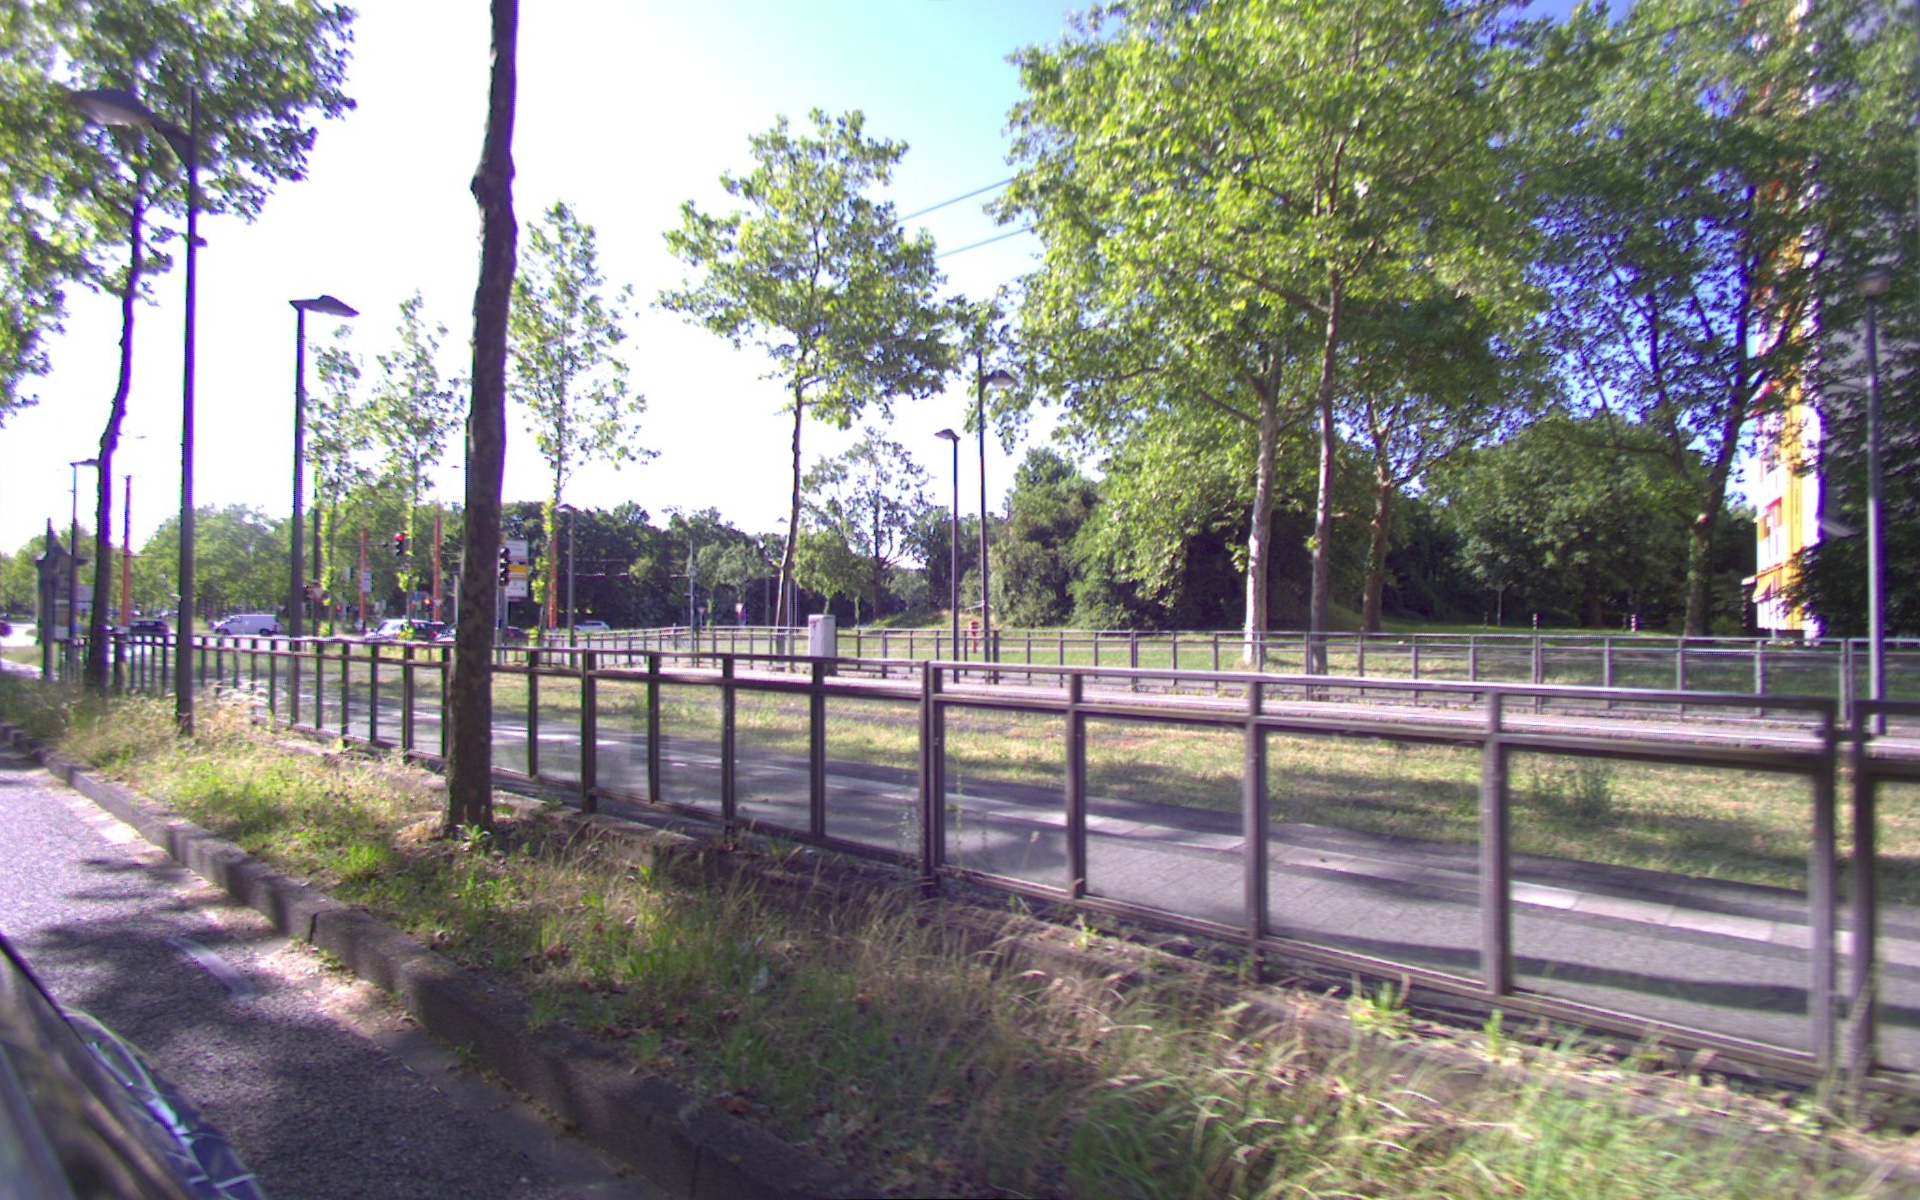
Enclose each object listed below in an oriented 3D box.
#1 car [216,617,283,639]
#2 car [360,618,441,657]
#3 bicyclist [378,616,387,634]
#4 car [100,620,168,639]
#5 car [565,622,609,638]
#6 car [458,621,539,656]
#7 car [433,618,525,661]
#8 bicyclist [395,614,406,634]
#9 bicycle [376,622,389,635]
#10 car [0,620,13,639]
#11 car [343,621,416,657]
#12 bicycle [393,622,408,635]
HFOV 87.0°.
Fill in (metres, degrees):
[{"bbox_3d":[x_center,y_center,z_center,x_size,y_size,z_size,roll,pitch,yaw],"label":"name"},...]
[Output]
[{"bbox_3d":[-62.662,2.490,89.329,4.478,1.849,1.806,1,-2,-23],"label":"car"},{"bbox_3d":[-24.507,1.592,44.285,4.232,1.629,1.775,-1,-2,42],"label":"car"},{"bbox_3d":[-48.465,2.104,84.930,0.778,1.458,0.493,-1,-2,44],"label":"bicyclist"},{"bbox_3d":[-67.827,2.457,83.178,3.930,1.522,1.806,1,-2,-22],"label":"car"},{"bbox_3d":[-36.674,2.985,99.530,3.930,1.522,1.806,1,-2,-23],"label":"car"},{"bbox_3d":[-20.922,1.705,45.824,4.266,1.522,1.775,-1,-2,42],"label":"car"},{"bbox_3d":[-19.131,1.524,40.153,4.266,1.620,1.775,-1,-2,42],"label":"car"},{"bbox_3d":[-47.552,2.022,85.993,0.715,1.664,0.554,-1,-2,44],"label":"bicyclist"},{"bbox_3d":[-48.466,2.400,84.924,1.800,1.116,0.493,-1,-2,44],"label":"bicycle"},{"bbox_3d":[-80.123,2.405,82.478,3.930,1.522,1.806,1,-2,-22],"label":"car"},{"bbox_3d":[-27.746,1.832,48.312,4.232,1.629,1.775,-2,-2,42],"label":"car"},{"bbox_3d":[-47.535,2.419,85.986,1.800,1.116,0.554,-1,-2,44],"label":"bicycle"}]
